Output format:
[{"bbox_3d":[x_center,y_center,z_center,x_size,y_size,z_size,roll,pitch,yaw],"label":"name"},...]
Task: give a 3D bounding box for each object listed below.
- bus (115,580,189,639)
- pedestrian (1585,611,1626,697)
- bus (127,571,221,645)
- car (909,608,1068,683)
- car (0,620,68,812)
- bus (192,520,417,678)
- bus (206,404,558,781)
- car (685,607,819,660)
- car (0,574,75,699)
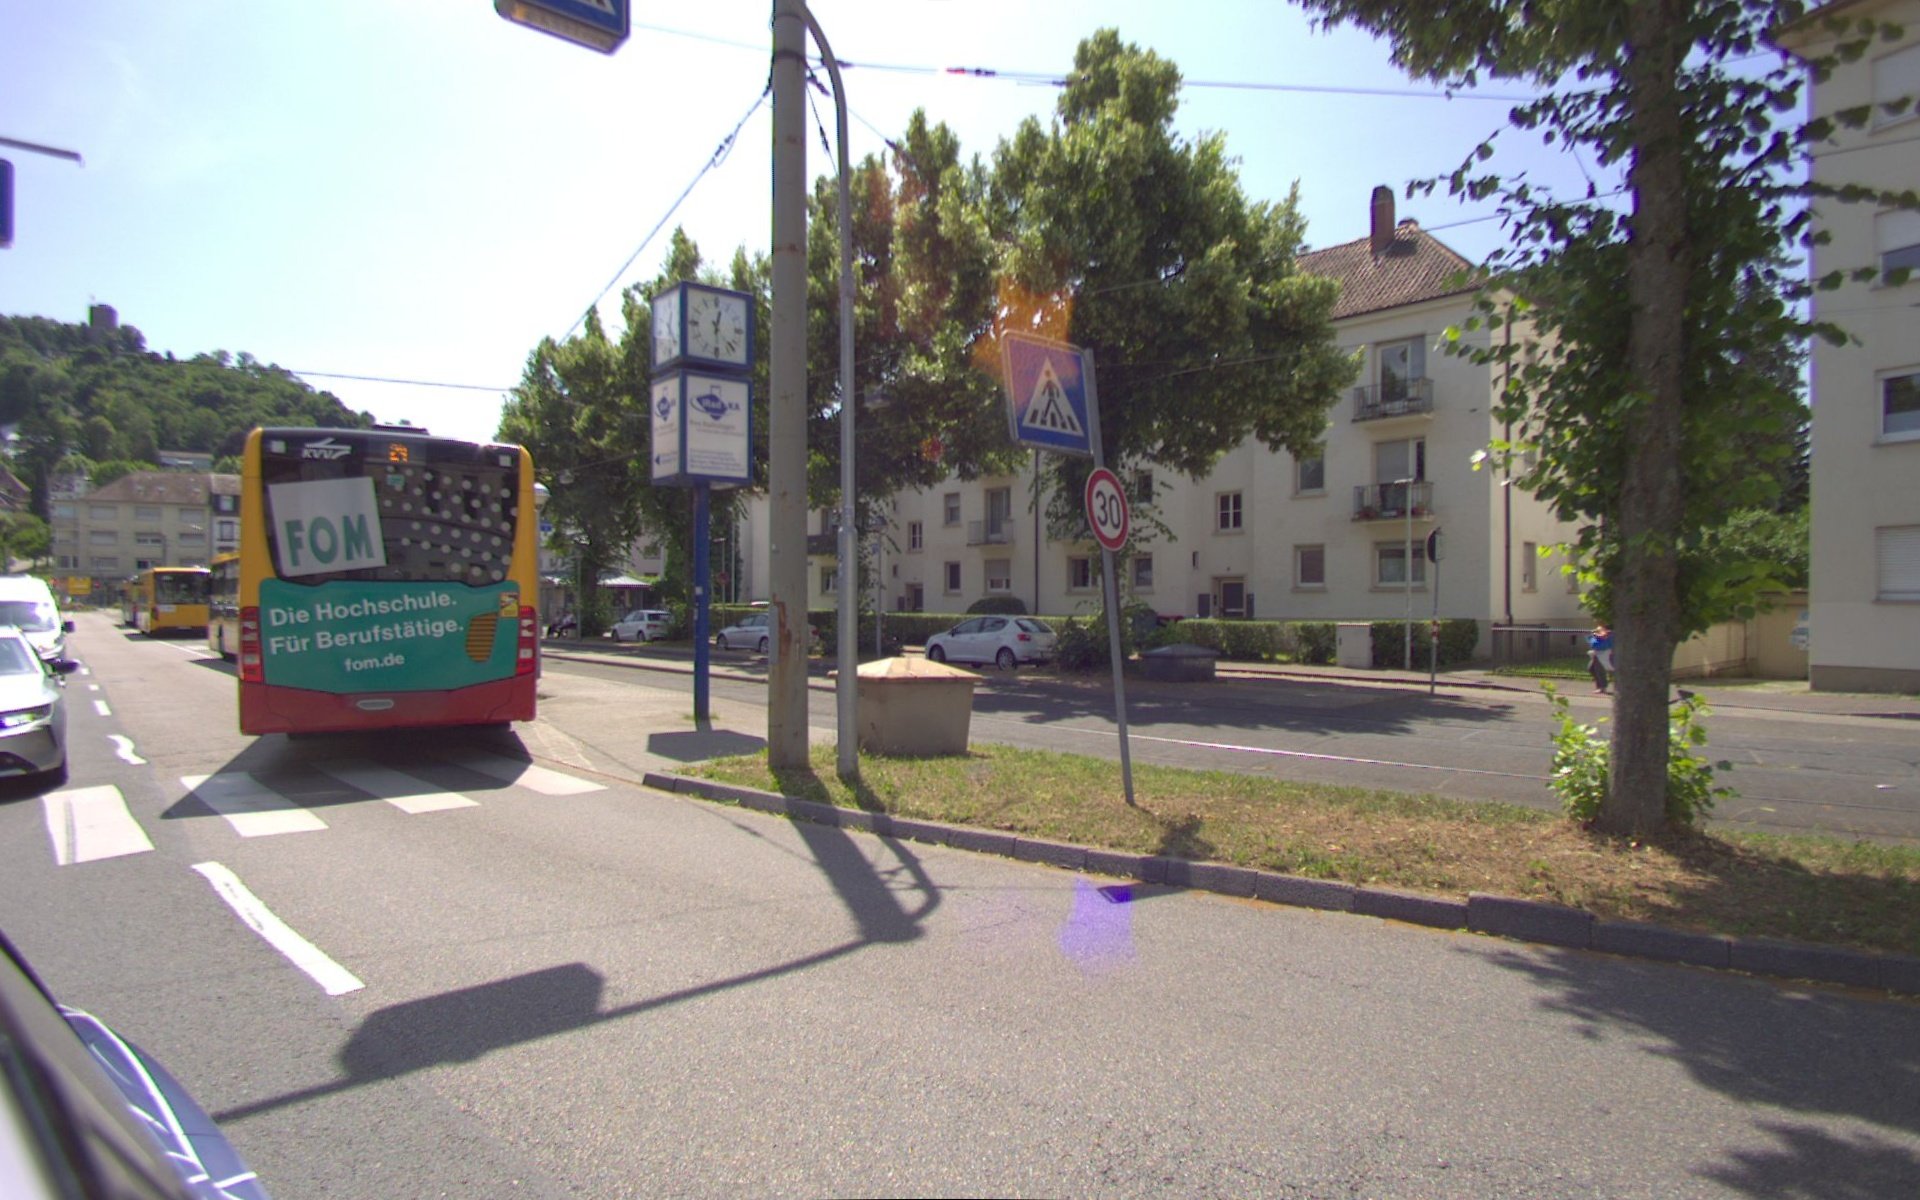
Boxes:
[{"bbox_3d":[-52.601,0.631,65.725,2.873,3.452,12.053,-2,1,-42],"label":"bus"},{"bbox_3d":[13.074,1.074,20.507,0.607,1.664,0.567,1,3,42],"label":"pedestrian"},{"bbox_3d":[-39.824,0.207,51.064,2.863,3.271,12.213,-2,3,-42],"label":"bus"},{"bbox_3d":[0.675,1.106,26.137,4.002,1.630,1.731,2,3,44],"label":"car"},{"bbox_3d":[-9.425,0.955,9.276,1.791,1.389,4.399,-1,1,-40],"label":"car"},{"bbox_3d":[-17.477,-0.096,26.403,2.873,3.272,12.132,-2,2,-42],"label":"bus"},{"bbox_3d":[-8.282,-0.050,14.709,2.741,3.232,12.344,-2,0,-30],"label":"bus"},{"bbox_3d":[-7.267,1.087,34.830,1.687,1.468,6.050,-2,3,-42],"label":"car"},{"bbox_3d":[-19.627,0.626,20.637,5.448,2.288,1.971,2,3,45],"label":"car"}]
